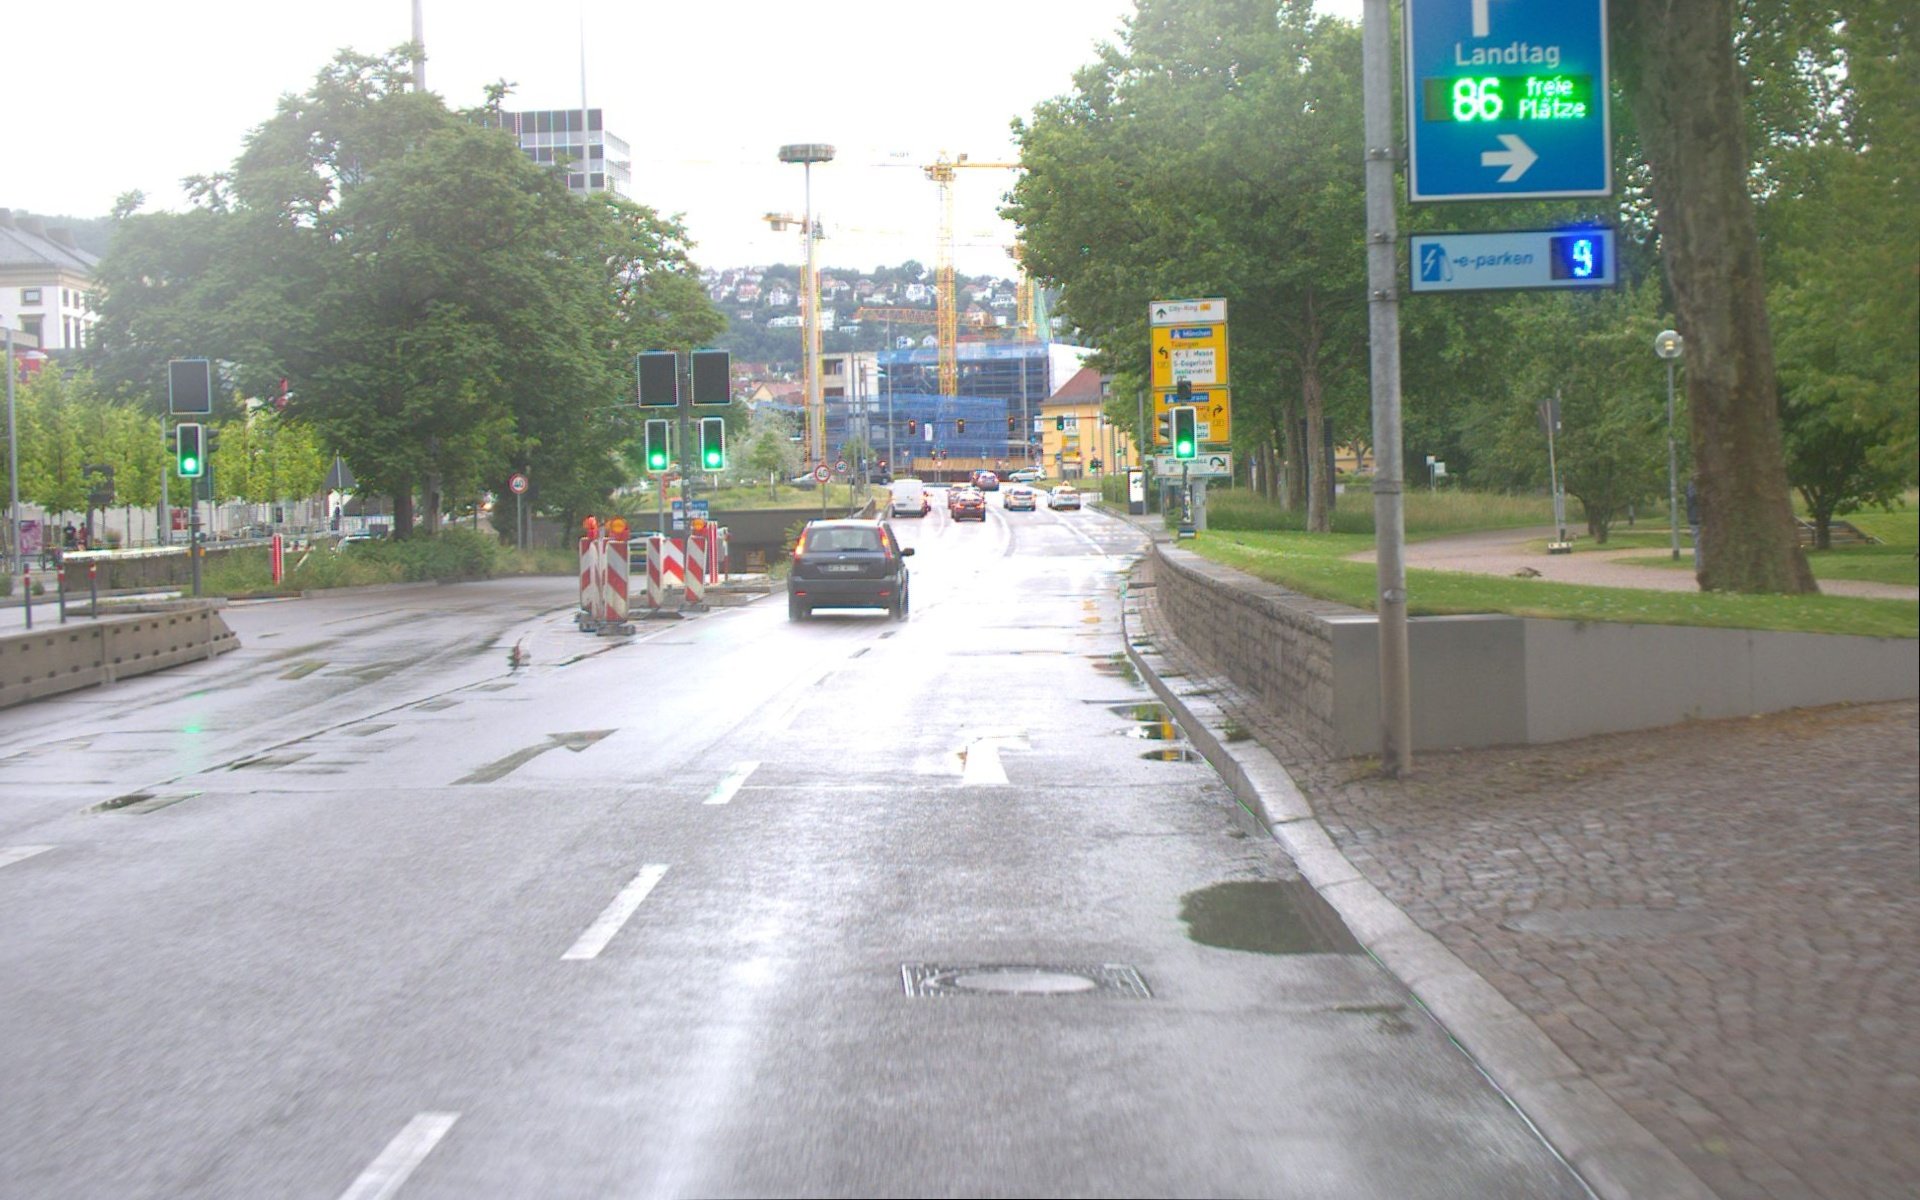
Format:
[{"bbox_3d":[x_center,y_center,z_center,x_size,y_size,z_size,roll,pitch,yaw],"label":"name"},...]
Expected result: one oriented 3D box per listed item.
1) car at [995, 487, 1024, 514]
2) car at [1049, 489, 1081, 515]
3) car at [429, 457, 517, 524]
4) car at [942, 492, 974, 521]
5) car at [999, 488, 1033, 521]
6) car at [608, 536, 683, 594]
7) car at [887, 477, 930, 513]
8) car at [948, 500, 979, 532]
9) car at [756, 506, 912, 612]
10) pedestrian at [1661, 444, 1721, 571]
[{"bbox_3d":[3.370,-6.767,233.831,1.713,1.684,3.849,-3,0,3],"label":"car"},{"bbox_3d":[7.066,-6.601,231.318,1.994,1.594,4.000,-3,0,3],"label":"car"},{"bbox_3d":[-12.584,-2.820,89.007,1.993,1.626,4.001,-1,1,-5],"label":"car"},{"bbox_3d":[-0.101,-6.425,236.158,1.993,1.776,4.000,-3,0,2],"label":"car"},{"bbox_3d":[3.717,-6.313,228.625,1.987,2.007,4.000,-3,0,-1],"label":"car"},{"bbox_3d":[-10.337,-1.176,113.131,1.993,1.774,4.000,-2,2,1],"label":"car"},{"bbox_3d":[-3.183,-6.499,212.426,2.220,2.007,3.999,-2,0,5],"label":"car"},{"bbox_3d":[0.229,-4.928,202.150,1.739,1.765,4.000,-3,0,0],"label":"car"},{"bbox_3d":[-1.893,-0.588,50.542,1.843,1.411,3.840,-3,0,-8],"label":"car"},{"bbox_3d":[10.326,-1.308,48.569,0.594,1.749,0.725,-3,2,-2],"label":"pedestrian"}]
